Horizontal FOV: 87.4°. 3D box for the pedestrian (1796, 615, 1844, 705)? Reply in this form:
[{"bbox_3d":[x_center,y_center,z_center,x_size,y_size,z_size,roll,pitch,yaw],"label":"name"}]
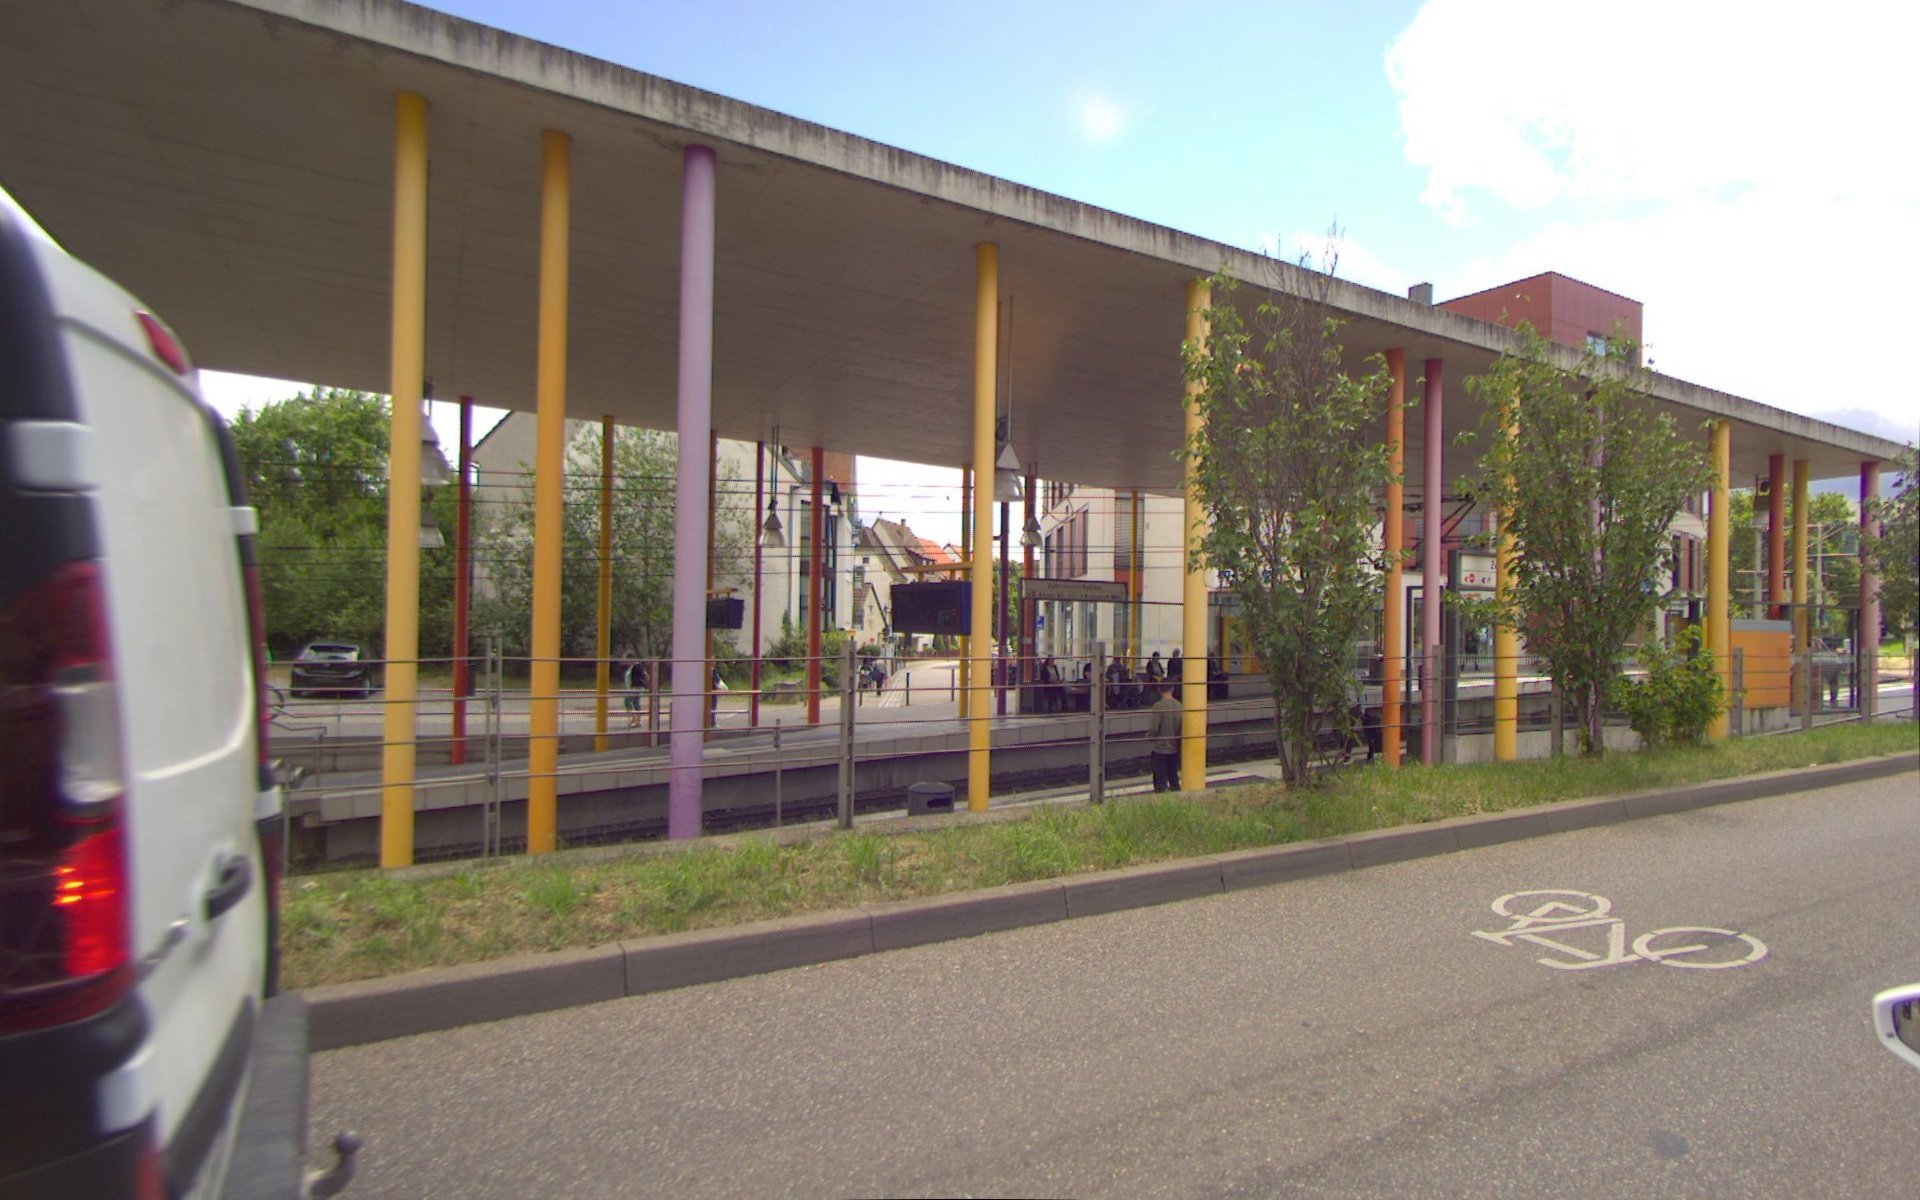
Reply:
[{"bbox_3d":[18.472,1.267,21.595,0.725,1.870,0.780,1,1,39],"label":"pedestrian"}]

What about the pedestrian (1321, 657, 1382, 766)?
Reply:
[{"bbox_3d":[6.186,1.741,15.873,0.628,1.636,0.627,0,1,-29],"label":"pedestrian"}]

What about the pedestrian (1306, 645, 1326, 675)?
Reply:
[{"bbox_3d":[12.596,2.133,35.528,0.555,1.036,0.362,3,-1,-28],"label":"pedestrian"}]

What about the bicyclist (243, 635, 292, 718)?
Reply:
[{"bbox_3d":[-13.775,1.516,19.988,0.673,1.614,0.482,3,-1,-27],"label":"bicyclist"}]

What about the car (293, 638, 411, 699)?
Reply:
[{"bbox_3d":[-16.275,1.790,27.092,1.544,1.354,3.989,3,-1,-14],"label":"car"}]

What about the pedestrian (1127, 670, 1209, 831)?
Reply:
[{"bbox_3d":[2.539,1.816,12.290,0.701,1.854,0.584,3,-1,-28],"label":"pedestrian"}]

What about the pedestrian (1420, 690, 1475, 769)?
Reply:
[{"bbox_3d":[7.301,1.925,15.044,0.478,1.097,0.562,0,1,-30],"label":"pedestrian"}]

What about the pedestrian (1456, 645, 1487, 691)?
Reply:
[{"bbox_3d":[19.351,2.575,38.009,0.833,1.671,0.653,3,-1,-30],"label":"pedestrian"}]

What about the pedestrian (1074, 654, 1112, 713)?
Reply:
[{"bbox_3d":[3.316,2.064,25.086,0.693,1.397,0.648,0,1,-29],"label":"pedestrian"}]

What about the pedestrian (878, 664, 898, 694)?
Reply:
[{"bbox_3d":[-3.044,3.348,42.426,0.693,1.203,0.546,3,-1,5],"label":"pedestrian"}]

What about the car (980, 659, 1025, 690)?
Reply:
[{"bbox_3d":[2.038,3.615,48.692,1.617,1.342,3.717,3,-4,-6],"label":"car"}]

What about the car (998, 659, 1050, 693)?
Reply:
[{"bbox_3d":[2.720,3.277,43.316,1.617,1.342,3.717,3,-4,-6],"label":"car"}]

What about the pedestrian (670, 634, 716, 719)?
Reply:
[{"bbox_3d":[-6.158,1.764,23.175,0.790,1.908,0.639,3,-1,-30],"label":"pedestrian"}]

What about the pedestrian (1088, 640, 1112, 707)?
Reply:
[{"bbox_3d":[3.955,2.057,28.417,0.486,1.845,0.480,0,1,-32],"label":"pedestrian"}]

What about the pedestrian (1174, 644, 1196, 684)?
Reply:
[{"bbox_3d":[7.647,2.186,34.193,0.505,1.321,0.523,2,-1,37],"label":"pedestrian"}]

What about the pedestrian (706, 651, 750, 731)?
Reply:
[{"bbox_3d":[-5.093,1.996,22.059,0.722,1.683,0.639,3,-1,-30],"label":"pedestrian"}]

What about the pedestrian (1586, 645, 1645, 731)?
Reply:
[{"bbox_3d":[12.183,1.625,18.682,0.741,1.547,0.686,-2,0,20],"label":"pedestrian"}]

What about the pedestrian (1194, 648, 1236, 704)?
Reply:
[{"bbox_3d":[6.801,2.010,26.822,0.693,1.397,0.819,0,1,-29],"label":"pedestrian"}]

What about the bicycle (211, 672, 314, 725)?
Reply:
[{"bbox_3d":[-13.834,1.958,19.962,1.592,0.975,0.482,3,-1,-27],"label":"bicycle"}]

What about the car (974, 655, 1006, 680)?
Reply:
[{"bbox_3d":[1.745,4.001,58.889,1.615,1.342,3.720,3,-4,-1],"label":"car"}]

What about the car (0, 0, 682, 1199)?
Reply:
[{"bbox_3d":[-2.985,0.309,0.763,5.004,1.943,1.995,2,0,-30],"label":"car"}]

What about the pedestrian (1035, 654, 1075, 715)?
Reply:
[{"bbox_3d":[2.314,2.049,24.507,0.696,1.397,0.683,0,1,-29],"label":"pedestrian"}]

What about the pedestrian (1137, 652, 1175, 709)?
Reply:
[{"bbox_3d":[5.062,2.061,25.986,0.693,1.397,0.648,0,1,-29],"label":"pedestrian"}]

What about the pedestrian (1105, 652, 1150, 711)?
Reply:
[{"bbox_3d":[4.222,2.038,25.363,0.693,1.397,0.923,0,1,-29],"label":"pedestrian"}]

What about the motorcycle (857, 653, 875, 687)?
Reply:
[{"bbox_3d":[-3.849,2.846,41.212,0.503,1.356,1.567,0,-3,3],"label":"motorcycle"}]

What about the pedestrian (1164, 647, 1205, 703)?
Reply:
[{"bbox_3d":[5.894,1.962,26.373,0.693,1.397,0.819,0,1,-29],"label":"pedestrian"}]

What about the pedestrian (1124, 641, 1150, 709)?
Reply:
[{"bbox_3d":[4.852,2.052,27.540,0.486,1.799,0.480,0,1,-32],"label":"pedestrian"}]
